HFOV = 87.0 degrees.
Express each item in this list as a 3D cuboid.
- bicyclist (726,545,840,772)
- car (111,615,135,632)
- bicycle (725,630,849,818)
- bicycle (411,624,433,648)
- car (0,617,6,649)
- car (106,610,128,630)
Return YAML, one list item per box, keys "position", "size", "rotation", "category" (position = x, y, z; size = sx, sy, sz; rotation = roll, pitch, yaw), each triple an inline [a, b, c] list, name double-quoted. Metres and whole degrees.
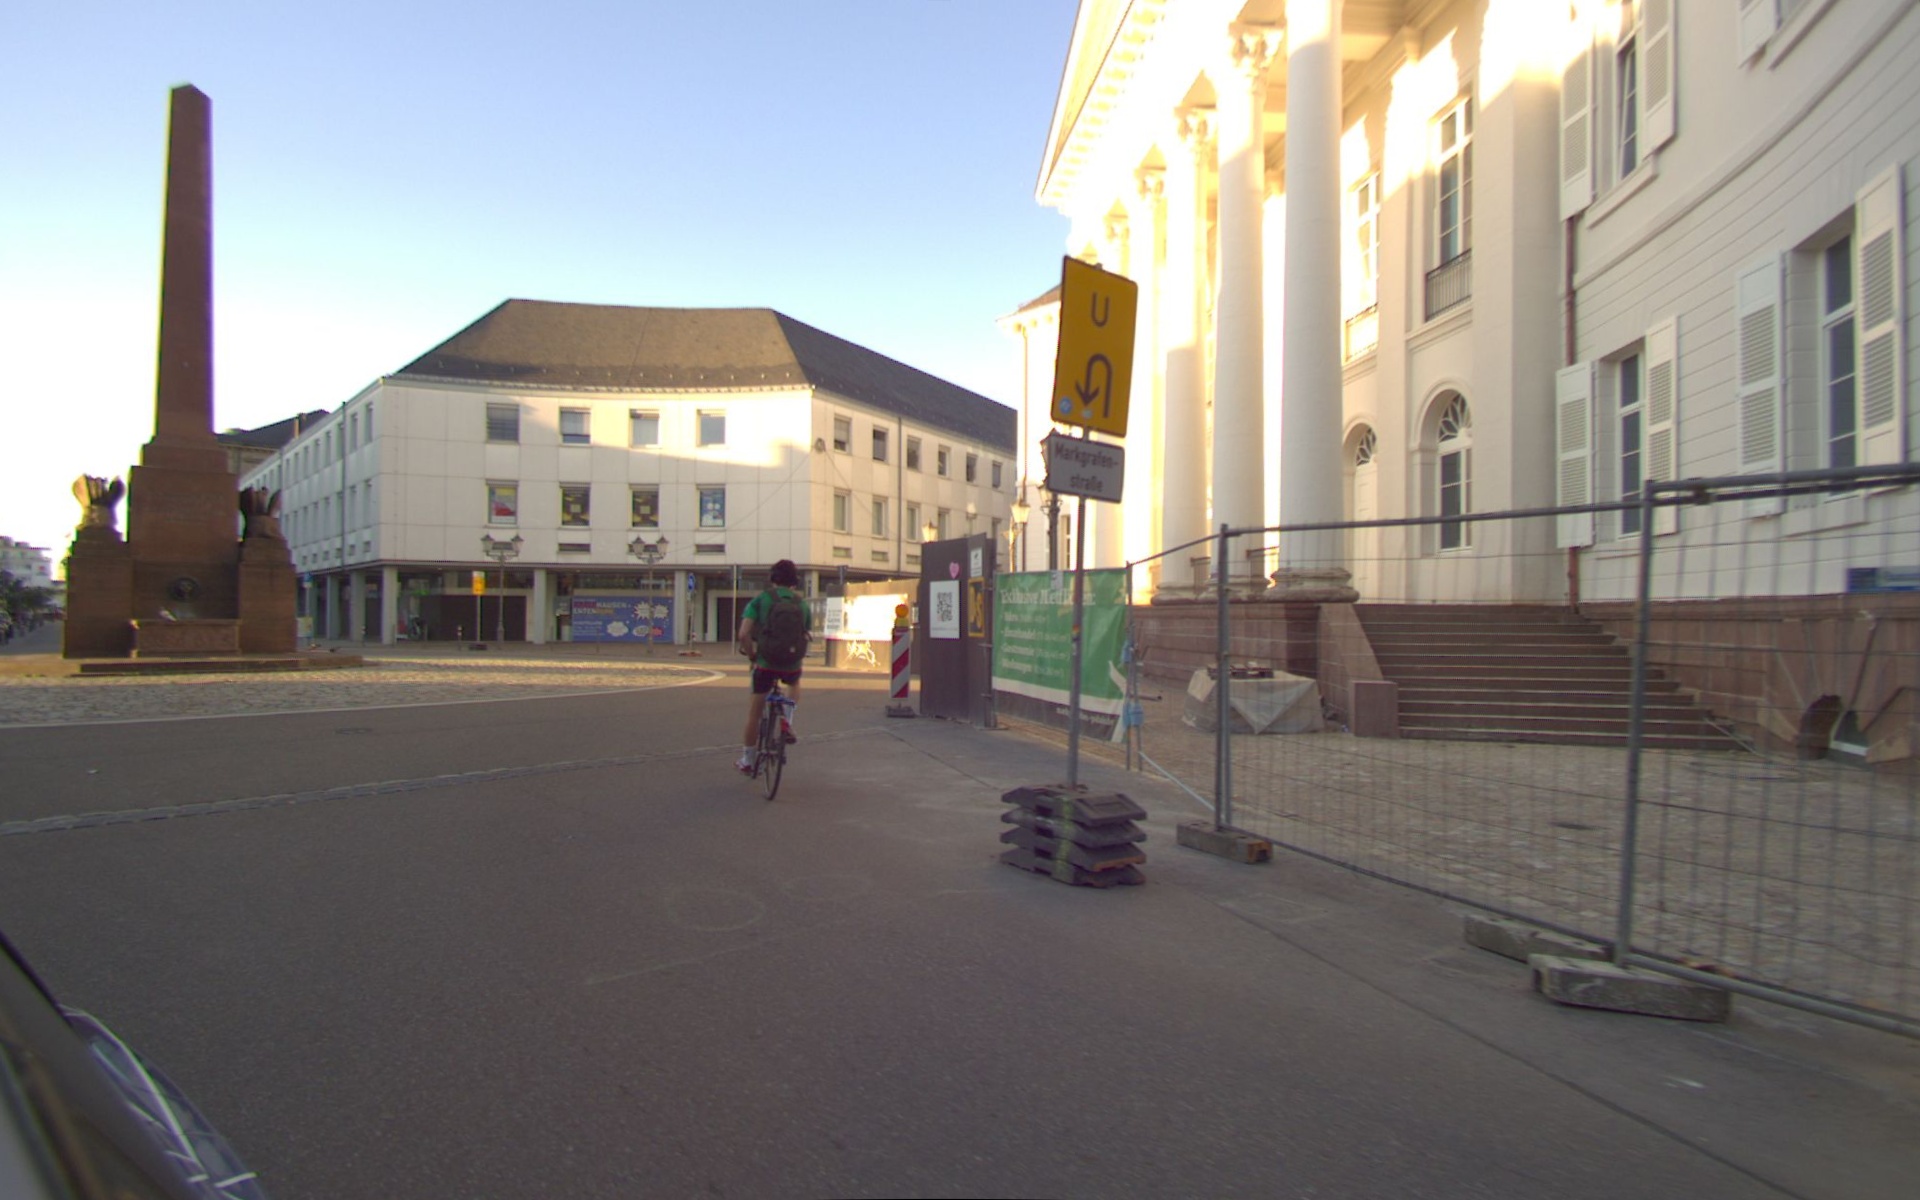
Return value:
- position: [-1.407, 0.433, 7.902]
  size: [0.785, 1.615, 1.234]
  rotation: [0, -1, -14]
  category: "bicyclist"
- position: [-84.843, 2.352, 102.561]
  size: [1.755, 1.679, 4.334]
  rotation: [1, -2, -42]
  category: "car"
- position: [-1.406, 0.854, 7.889]
  size: [0.785, 1.226, 2.239]
  rotation: [0, -1, -14]
  category: "bicycle"
- position: [-26.157, 1.737, 49.187]
  size: [0.474, 1.164, 1.951]
  rotation: [1, -2, -42]
  category: "bicycle"
- position: [-44.430, 1.481, 45.799]
  size: [1.755, 1.435, 3.965]
  rotation: [1, -2, -42]
  category: "car"
- position: [-97.118, 2.263, 116.591]
  size: [1.755, 2.243, 4.334]
  rotation: [1, -2, -42]
  category: "car"
